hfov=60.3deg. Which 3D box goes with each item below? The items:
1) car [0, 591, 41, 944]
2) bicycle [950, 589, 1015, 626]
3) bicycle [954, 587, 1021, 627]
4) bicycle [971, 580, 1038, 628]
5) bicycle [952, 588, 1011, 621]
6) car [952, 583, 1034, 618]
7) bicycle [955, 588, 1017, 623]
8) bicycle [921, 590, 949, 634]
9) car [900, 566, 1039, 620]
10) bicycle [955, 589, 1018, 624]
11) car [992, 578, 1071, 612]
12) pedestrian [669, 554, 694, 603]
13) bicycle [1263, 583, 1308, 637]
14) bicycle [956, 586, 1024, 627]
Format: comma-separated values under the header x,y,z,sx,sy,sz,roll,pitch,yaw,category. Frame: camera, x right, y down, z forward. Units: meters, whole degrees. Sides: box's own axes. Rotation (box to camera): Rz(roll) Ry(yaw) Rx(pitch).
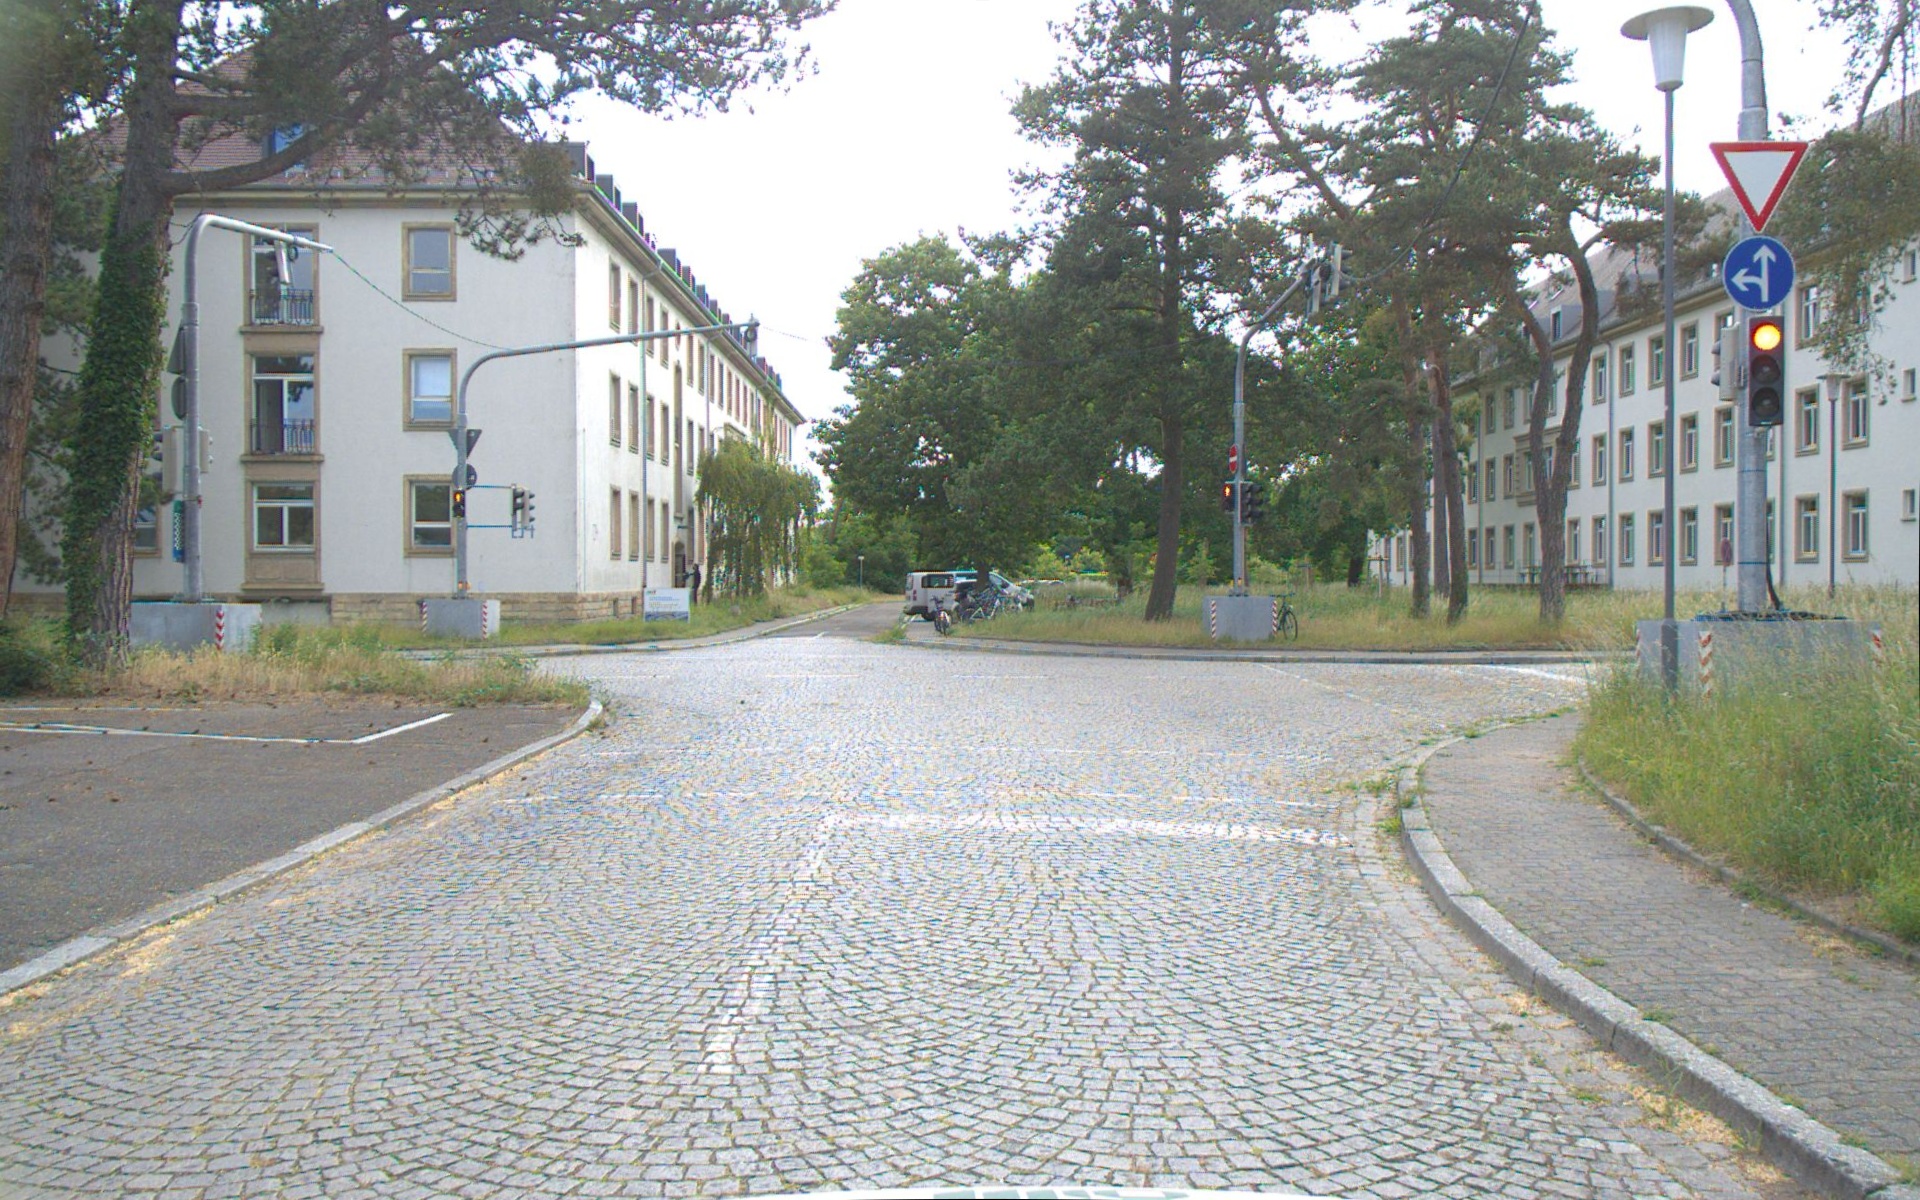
x,y,z,sx,sy,sz,roll,pitch,yaw,category
-5.843,0.608,6.133,3.868,1.446,1.650,3,0,-1,car
0.687,0.208,50.055,1.935,1.088,0.582,0,1,-31,bicycle
0.804,0.201,48.573,1.918,1.136,0.587,0,1,-8,bicycle
1.327,0.111,49.409,1.918,1.408,0.587,0,0,-8,bicycle
0.715,0.140,55.091,1.930,1.088,0.583,0,1,-26,bicycle
1.251,0.025,62.665,2.948,1.290,1.533,0,1,-6,car
0.838,0.166,52.761,1.930,1.088,0.583,0,1,-26,bicycle
-0.678,0.319,44.727,0.591,1.152,1.959,0,1,-6,bicycle
0.354,-0.295,66.016,5.262,1.958,2.020,-1,1,-10,car
0.825,0.195,51.407,1.935,1.088,0.582,0,1,-31,bicycle
2.999,-0.218,69.928,3.167,1.441,1.724,0,1,-3,car
-10.699,-0.814,63.539,0.766,1.869,0.733,0,0,-32,pedestrian
7.044,0.201,35.900,0.574,1.125,1.961,0,1,-1,bicycle
0.872,0.185,47.940,1.918,1.152,0.587,0,1,-8,bicycle
